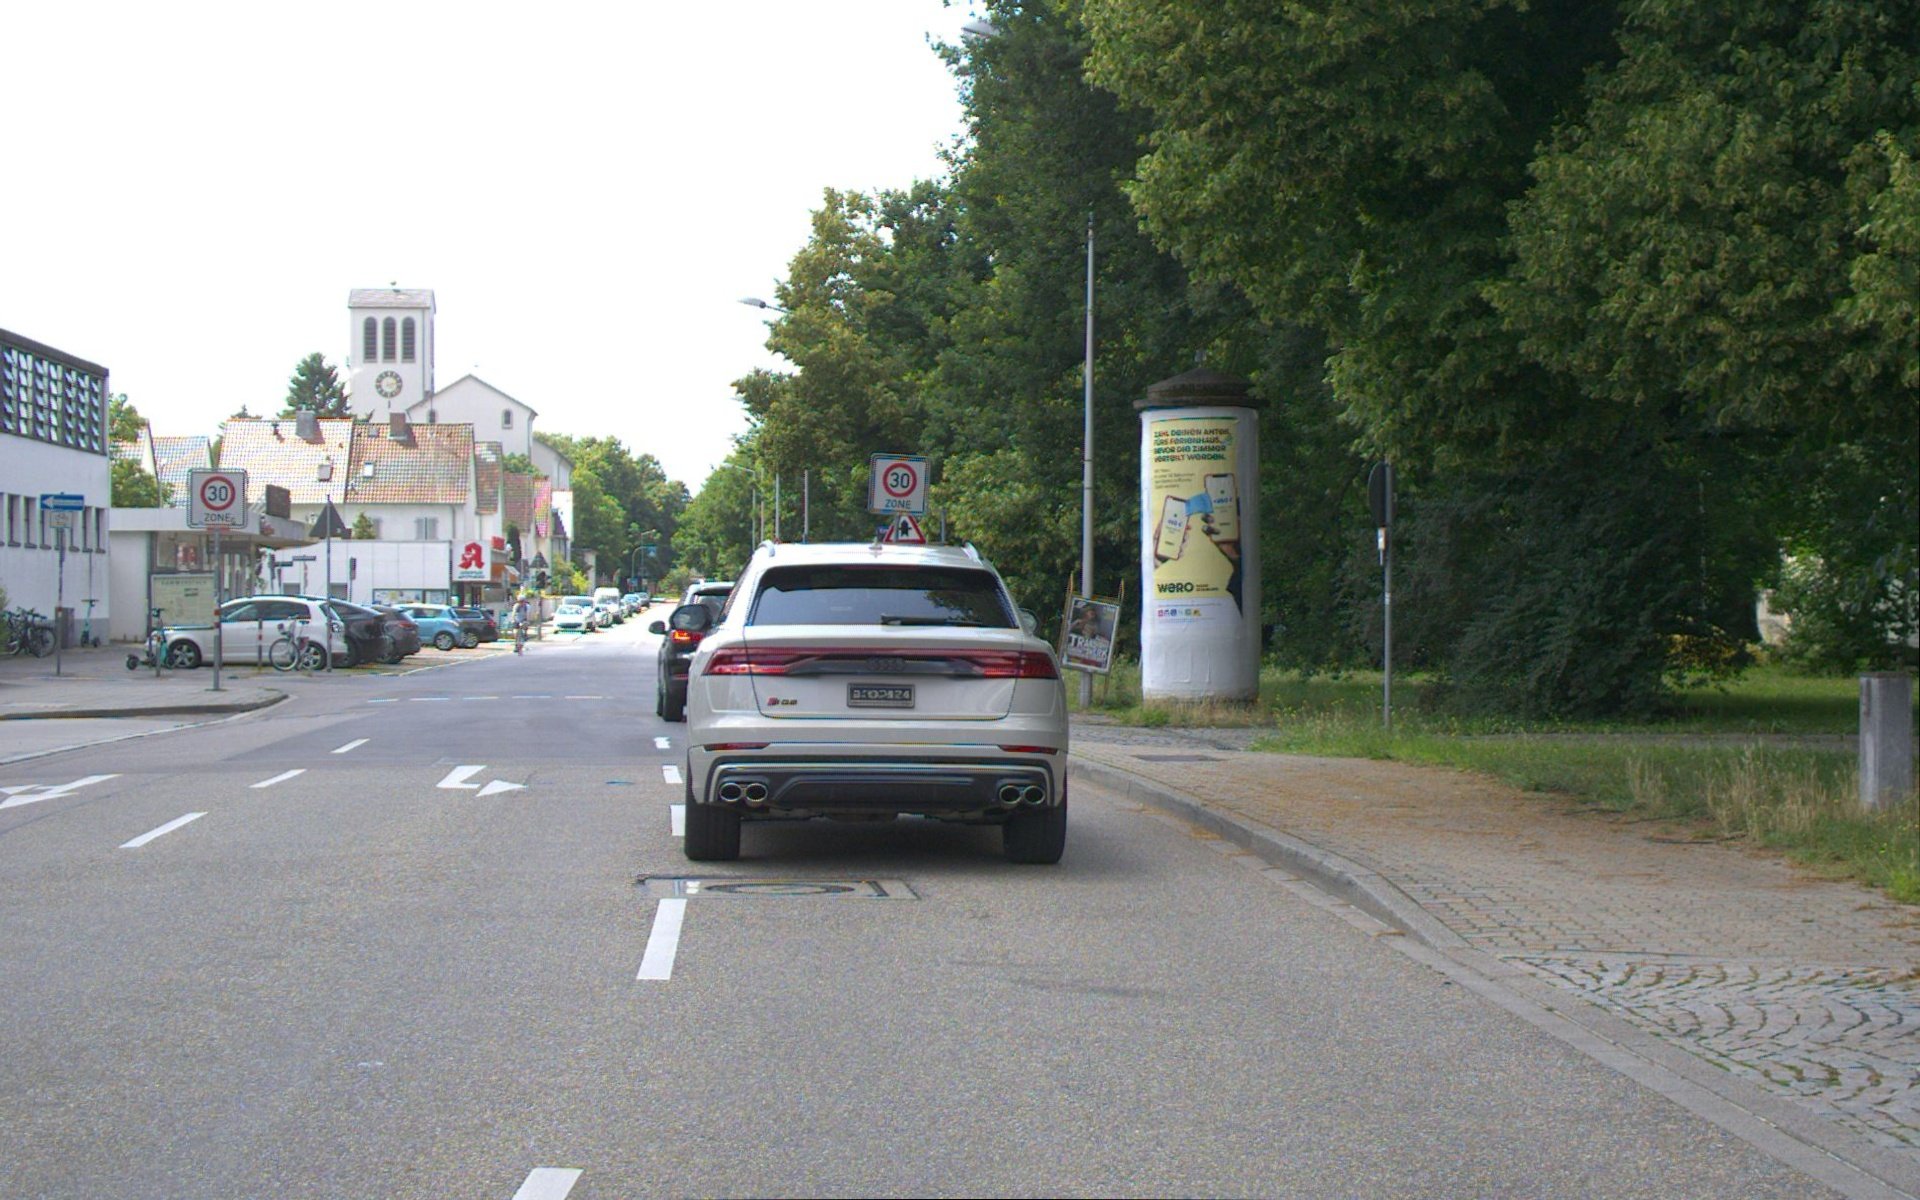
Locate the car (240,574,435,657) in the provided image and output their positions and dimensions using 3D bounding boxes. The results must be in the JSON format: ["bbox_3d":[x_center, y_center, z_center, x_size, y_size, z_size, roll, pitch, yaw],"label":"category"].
[{"bbox_3d":[-15.199,0.391,84.069,4.630,2.007,2.000,0,-1,-9],"label":"car"}]

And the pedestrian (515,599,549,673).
[{"bbox_3d":[-12.428,1.049,99.864,0.909,2.128,1.014,0,0,-3],"label":"pedestrian"}]

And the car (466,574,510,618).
[{"bbox_3d":[-21.541,-0.199,157.007,1.993,2.007,4.001,0,0,-7],"label":"car"}]

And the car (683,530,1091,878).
[{"bbox_3d":[-0.327,0.486,19.269,1.981,1.678,4.574,1,1,1],"label":"car"}]

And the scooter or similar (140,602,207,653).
[{"bbox_3d":[-15.719,0.559,68.686,0.622,0.992,1.995,1,-1,-35],"label":"scooter or similar"}]

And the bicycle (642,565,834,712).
[{"bbox_3d":[-2.717,0.427,41.206,1.993,1.669,4.209,0,0,-8],"label":"bicycle"}]

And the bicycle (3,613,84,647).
[{"bbox_3d":[-20.877,0.684,78.308,1.669,0.755,0.570,1,0,-30],"label":"bicycle"}]

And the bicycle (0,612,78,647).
[{"bbox_3d":[-21.191,0.676,79.020,1.669,0.755,0.570,1,0,-30],"label":"bicycle"}]

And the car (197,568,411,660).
[{"bbox_3d":[-14.587,0.314,76.652,4.630,2.007,2.000,0,-1,-9],"label":"car"}]

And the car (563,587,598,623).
[{"bbox_3d":[-20.035,0.241,181.373,1.782,1.848,4.001,0,0,-7],"label":"car"}]

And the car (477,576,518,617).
[{"bbox_3d":[-22.934,-0.162,170.458,1.993,2.007,4.001,0,0,-7],"label":"car"}]

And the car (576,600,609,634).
[{"bbox_3d":[-20.571,0.952,192.282,1.782,1.848,4.001,0,0,-7],"label":"car"}]

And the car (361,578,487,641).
[{"bbox_3d":[-17.359,0.304,111.352,3.986,2.007,2.000,0,0,-10],"label":"car"}]

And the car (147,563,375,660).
[{"bbox_3d":[-14.678,0.259,72.373,4.630,2.007,2.000,0,-1,-9],"label":"car"}]

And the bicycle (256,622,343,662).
[{"bbox_3d":[-13.152,0.838,68.454,1.669,0.755,0.570,1,0,-9],"label":"bicycle"}]

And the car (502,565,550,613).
[{"bbox_3d":[-18.577,-0.475,147.102,1.993,2.007,4.001,0,0,-7],"label":"car"}]
